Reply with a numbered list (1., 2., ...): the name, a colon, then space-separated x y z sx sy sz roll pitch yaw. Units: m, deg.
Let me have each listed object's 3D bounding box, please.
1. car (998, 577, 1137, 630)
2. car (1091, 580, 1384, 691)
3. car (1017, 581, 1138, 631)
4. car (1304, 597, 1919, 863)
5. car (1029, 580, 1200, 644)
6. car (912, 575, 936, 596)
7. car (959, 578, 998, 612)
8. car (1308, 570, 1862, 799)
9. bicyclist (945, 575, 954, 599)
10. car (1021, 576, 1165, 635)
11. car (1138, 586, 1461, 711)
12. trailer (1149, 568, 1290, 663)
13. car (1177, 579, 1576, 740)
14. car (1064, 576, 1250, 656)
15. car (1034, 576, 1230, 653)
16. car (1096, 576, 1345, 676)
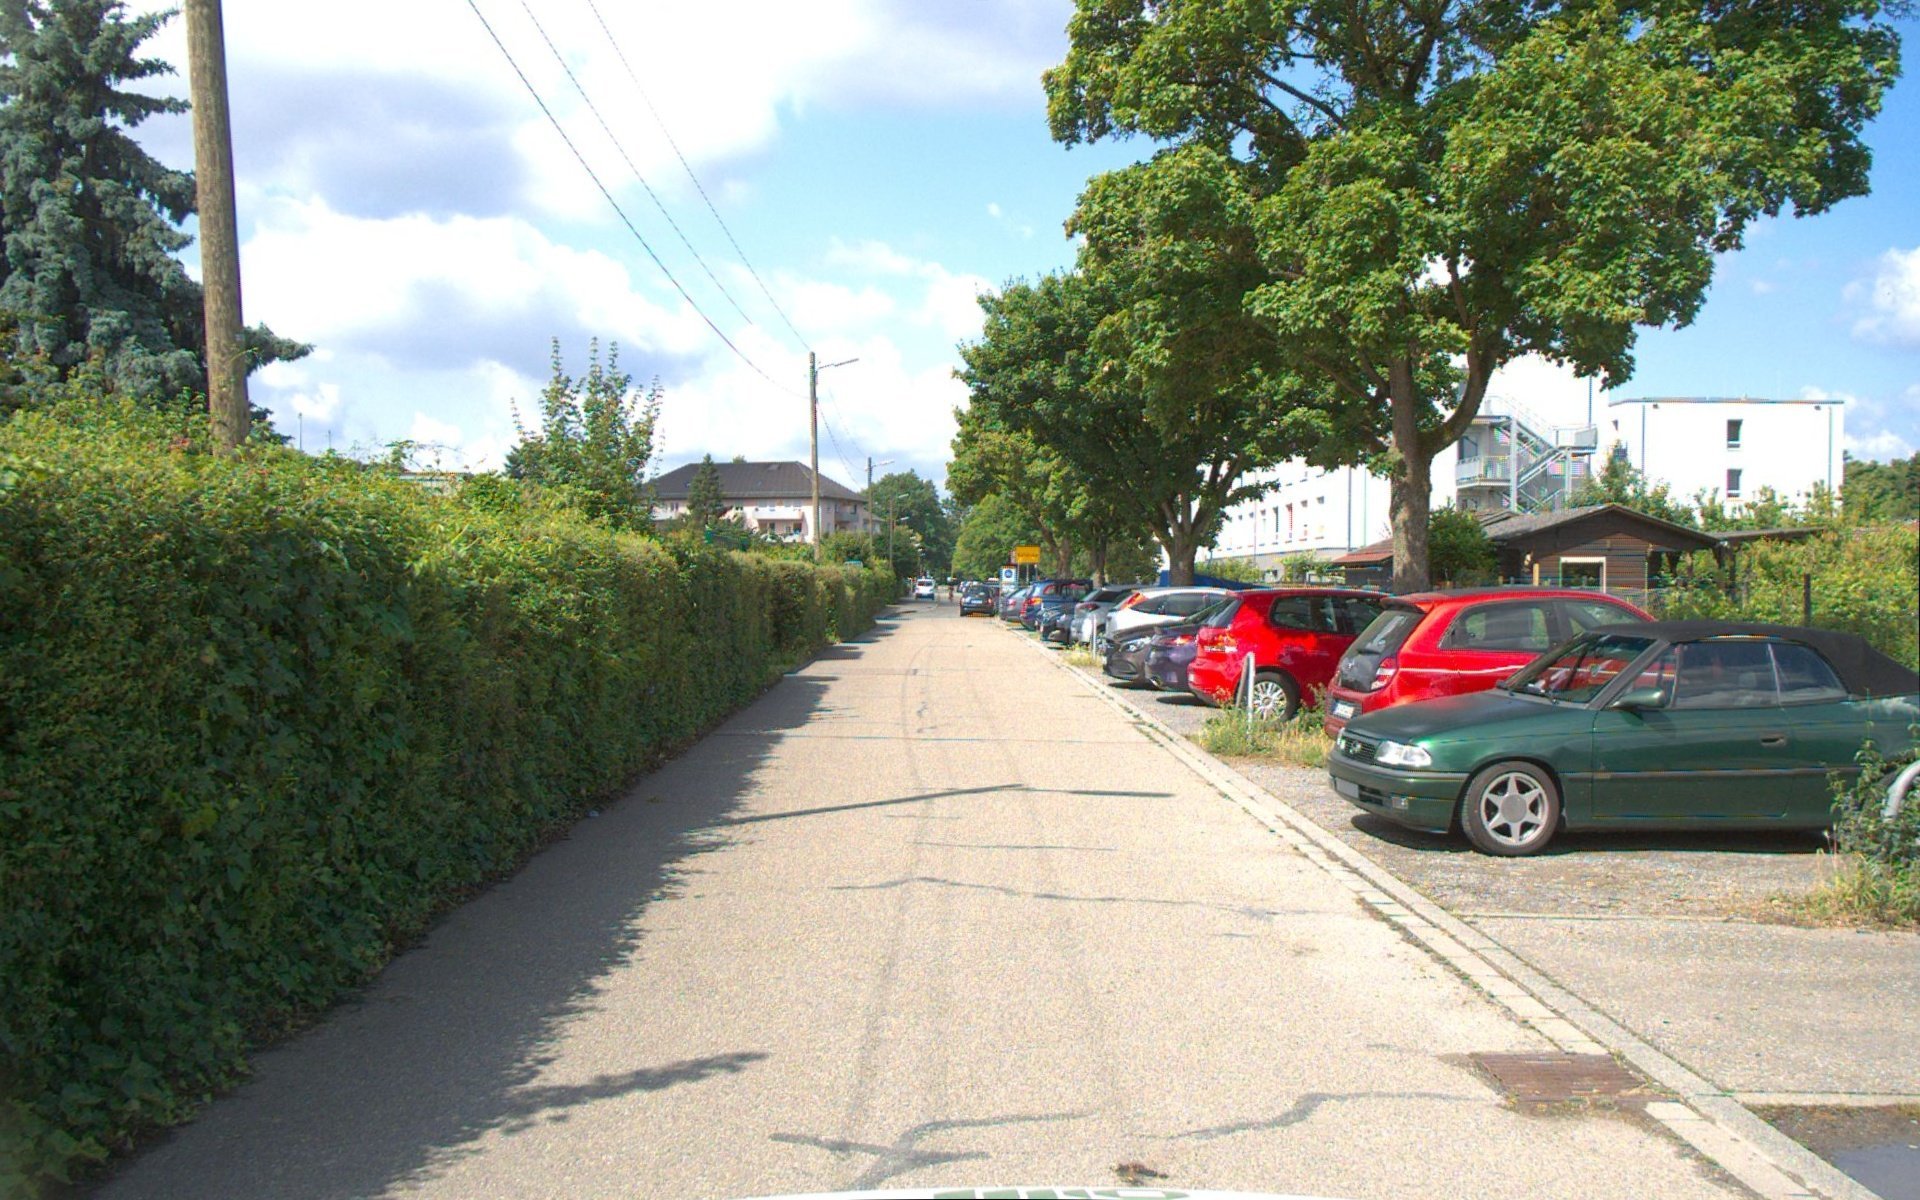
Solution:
1. car: 3.544 0.117 55.194 4.457 1.606 1.808 2 0 -2
2. car: 4.072 0.510 24.690 3.984 1.481 1.869 2 0 -3
3. car: 3.719 0.194 52.787 3.732 1.559 1.762 0 0 -1
4. car: 4.501 0.772 10.490 4.155 1.453 1.906 2 0 -5
5. car: 4.012 0.299 43.529 4.248 1.518 1.975 2 0 -2
6. car: -3.204 -1.306 148.398 1.863 1.846 4.001 2 0 2
7. car: 0.911 -0.242 79.844 1.628 1.532 4.002 2 0 4
8. car: 4.847 0.626 13.220 3.688 1.601 1.869 2 0 -2
9. bicyclist: -0.802 -1.029 131.996 0.645 1.884 1.043 -1 0 2
10. car: 3.865 0.153 48.604 4.070 1.666 1.878 0 0 -1
11. car: 4.314 0.599 21.526 3.829 1.448 1.958 2 0 2
12. trailer: 5.071 0.284 32.506 2.402 1.750 1.517 2 1 -5
13. car: 4.415 0.610 18.013 3.904 1.546 1.855 2 0 2
14. car: 4.172 0.328 35.379 3.650 1.567 1.848 2 0 -4
15. car: 3.889 0.319 37.958 4.215 1.621 1.999 2 0 -2
16. car: 4.376 0.426 28.301 3.980 1.538 1.958 2 0 2
